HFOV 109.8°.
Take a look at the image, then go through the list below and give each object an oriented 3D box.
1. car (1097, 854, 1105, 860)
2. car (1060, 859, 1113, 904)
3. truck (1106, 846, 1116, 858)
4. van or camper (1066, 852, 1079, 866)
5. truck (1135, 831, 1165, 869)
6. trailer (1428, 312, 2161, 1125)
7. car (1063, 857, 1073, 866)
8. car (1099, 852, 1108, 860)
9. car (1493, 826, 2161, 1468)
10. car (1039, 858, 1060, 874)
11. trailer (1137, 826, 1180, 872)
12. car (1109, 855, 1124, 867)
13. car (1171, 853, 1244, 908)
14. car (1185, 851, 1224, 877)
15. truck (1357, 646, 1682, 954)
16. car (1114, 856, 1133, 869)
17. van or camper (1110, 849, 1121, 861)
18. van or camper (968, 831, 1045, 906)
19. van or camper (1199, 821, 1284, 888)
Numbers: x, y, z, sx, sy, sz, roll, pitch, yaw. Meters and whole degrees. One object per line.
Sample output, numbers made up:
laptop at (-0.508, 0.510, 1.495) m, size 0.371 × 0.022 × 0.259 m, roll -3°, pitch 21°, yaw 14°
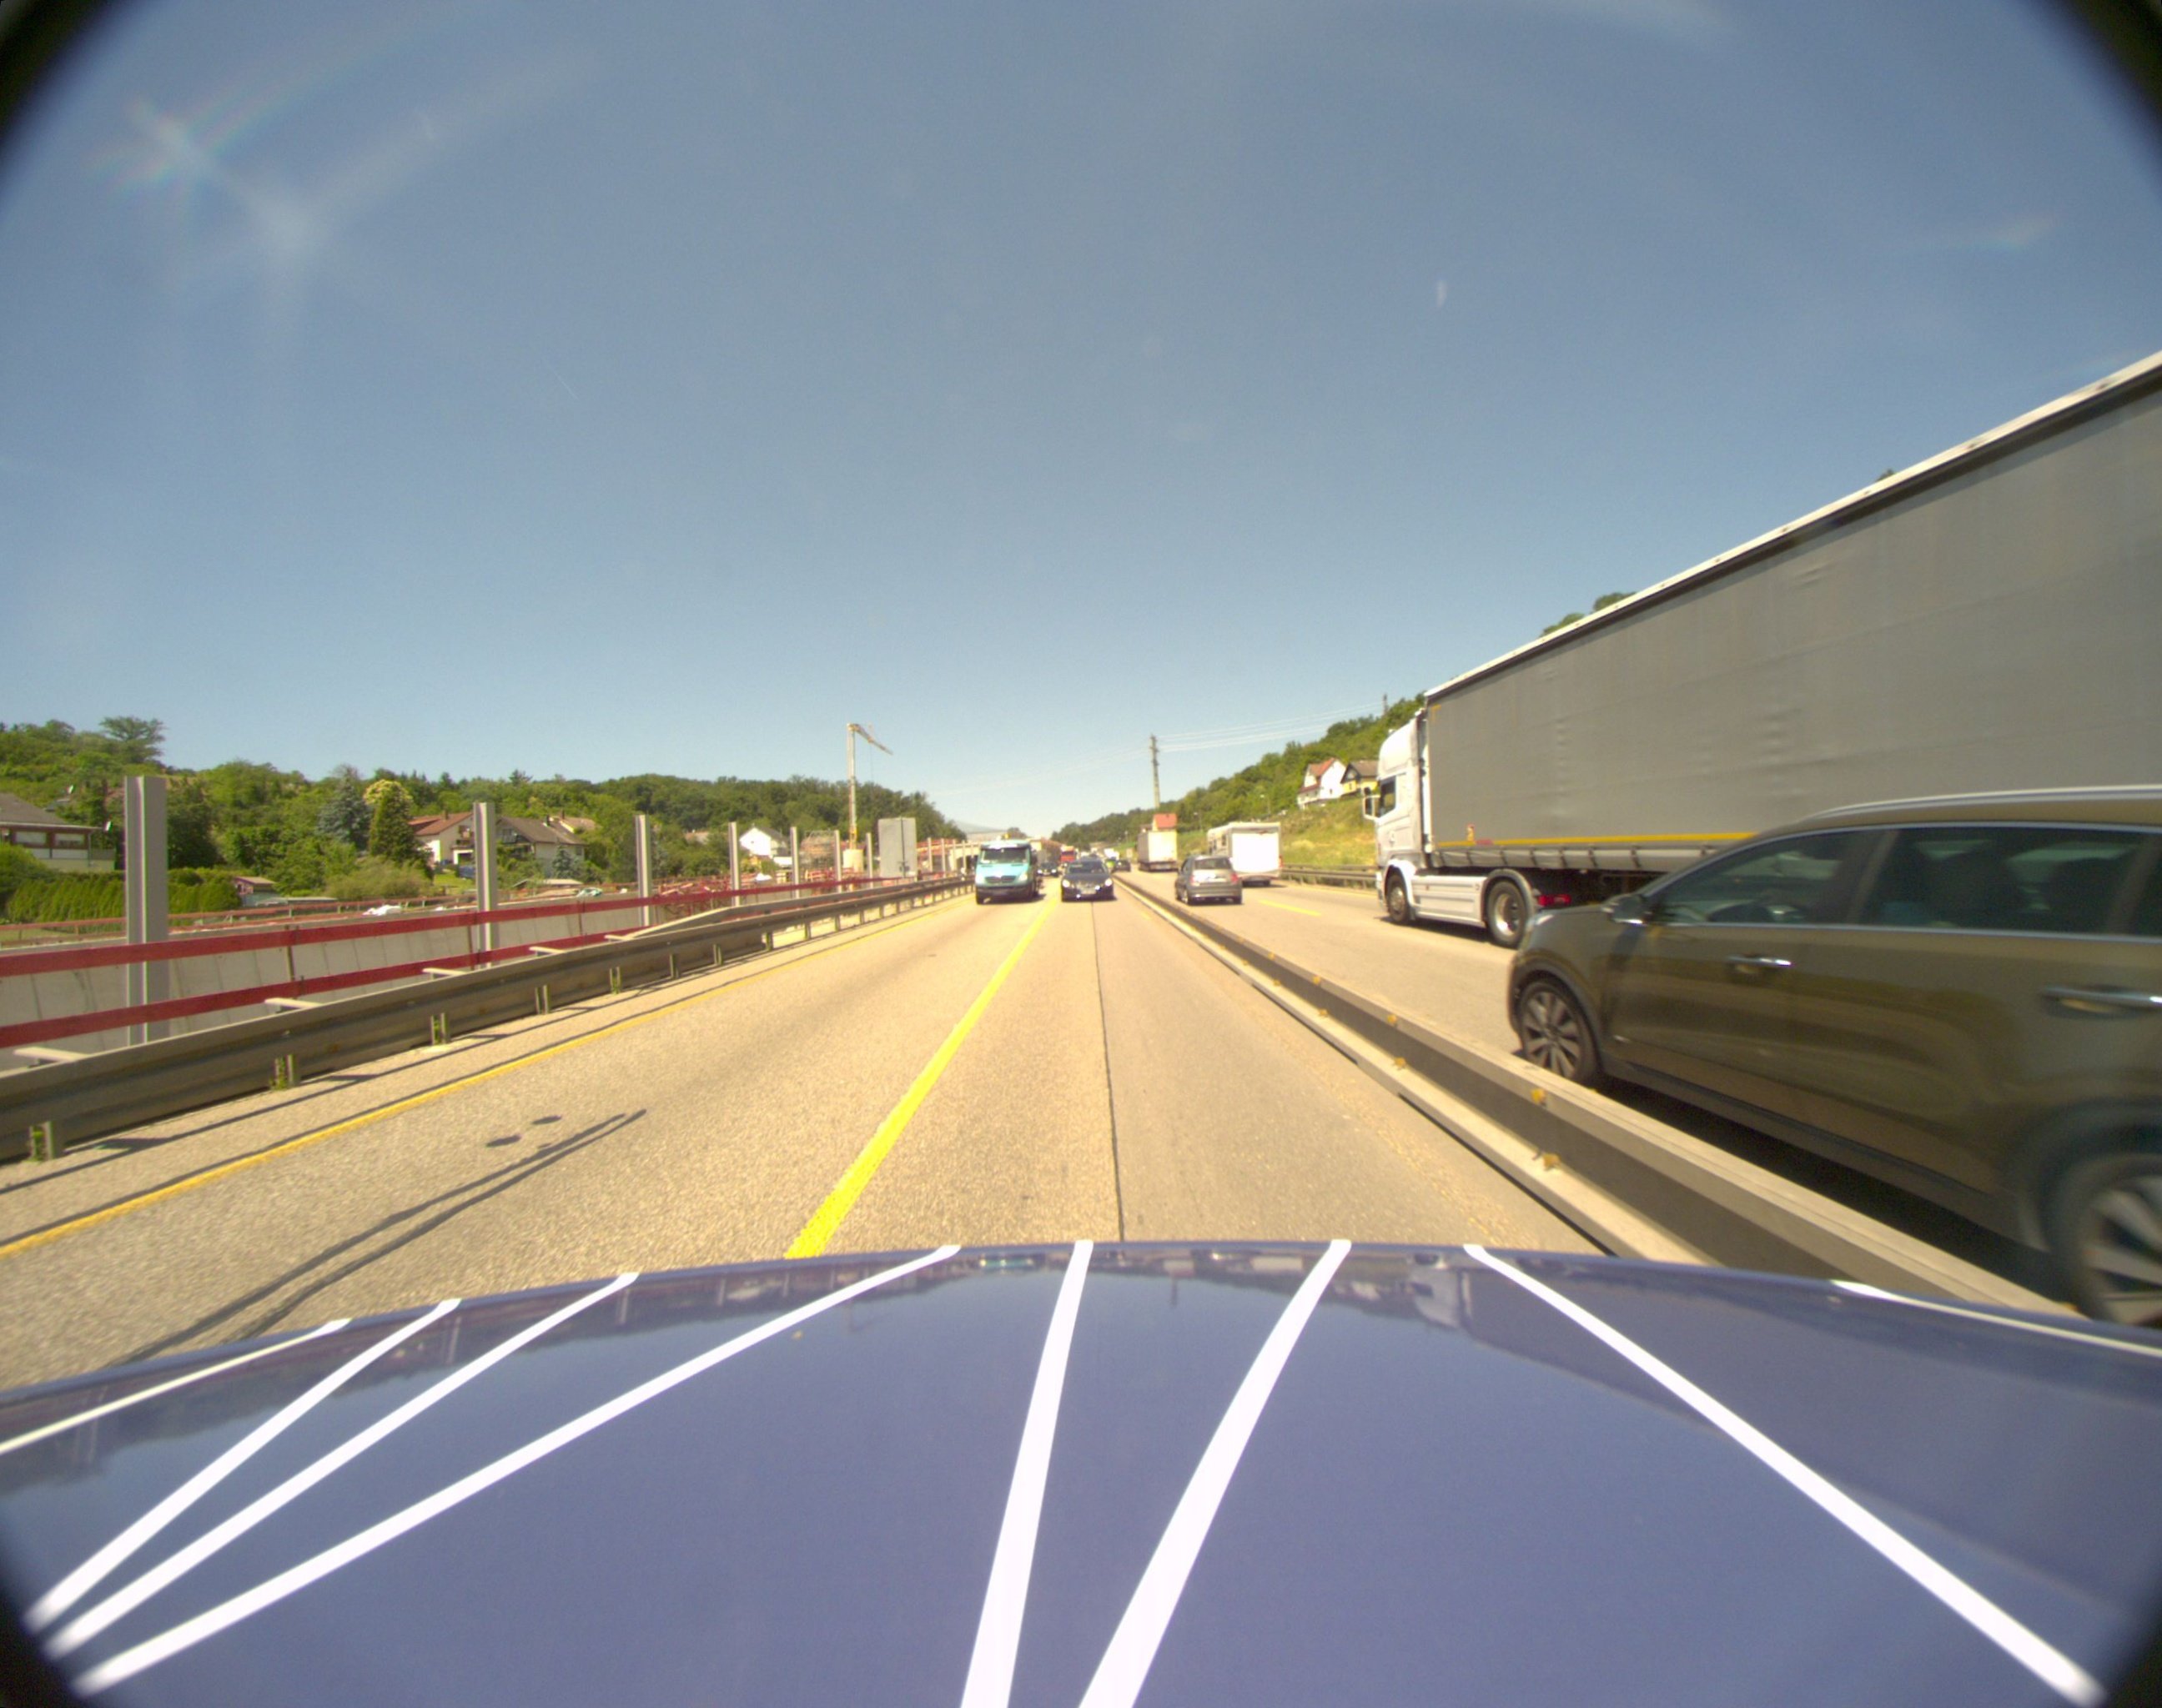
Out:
car at (4.982, 0.730, 190.279) m, size 1.660 × 1.420 × 3.176 m, roll -5°, pitch 0°, yaw 0°
car at (0.196, 0.934, 27.454) m, size 1.747 × 1.420 × 4.000 m, roll -2°, pitch 0°, yaw 0°
truck at (8.592, -0.565, 220.653) m, size 2.386 × 3.411 × 9.305 m, roll -1°, pitch 0°, yaw -1°
van or camper at (-1.654, 0.973, 150.955) m, size 2.321 × 2.513 × 4.527 m, roll -4°, pitch 0°, yaw 0°
truck at (7.734, -0.452, 85.244) m, size 2.828 × 4.100 × 4.598 m, roll -2°, pitch 0°, yaw 0°
trailer at (7.094, -0.743, 5.271) m, size 2.817 × 4.262 × 14.033 m, roll -2°, pitch 0°, yaw 0°
car at (-2.314, 1.305, 135.253) m, size 1.679 × 1.346 × 3.486 m, roll -4°, pitch 0°, yaw 0°
car at (4.355, 0.408, 149.632) m, size 1.677 × 1.468 × 4.539 m, roll 1°, pitch 1°, yaw 0°
car at (3.601, 0.710, 2.803) m, size 1.853 × 1.577 × 4.174 m, roll -2°, pitch 0°, yaw 0°
car at (-2.760, 1.043, 66.332) m, size 1.611 × 1.324 × 3.496 m, roll -1°, pitch 0°, yaw 1°
trailer at (7.741, -0.454, 77.488) m, size 2.864 × 4.100 × 13.436 m, roll -2°, pitch 0°, yaw 0°
car at (4.801, 0.953, 103.673) m, size 1.758 × 1.499 × 4.000 m, roll -4°, pitch 0°, yaw 0°
car at (3.779, 0.751, 23.195) m, size 1.633 × 1.470 × 3.379 m, roll -2°, pitch 0°, yaw 0°
car at (7.837, 0.616, 48.608) m, size 1.721 × 1.543 × 4.264 m, roll -2°, pitch 0°, yaw 0°
truck at (7.089, -0.769, 13.140) m, size 2.781 × 4.262 × 4.676 m, roll -2°, pitch 0°, yaw 0°
car at (4.562, 0.909, 82.224) m, size 1.772 × 1.355 × 4.411 m, roll -2°, pitch 0°, yaw 0°
van or camper at (8.371, 0.234, 184.716) m, size 2.382 × 2.634 × 6.051 m, roll -2°, pitch 0°, yaw 0°
van or camper at (-2.717, 0.496, 29.761) m, size 2.097 × 2.458 × 7.671 m, roll -2°, pitch 0°, yaw 0°
van or camper at (7.337, 0.026, 35.715) m, size 2.340 × 2.761 × 7.516 m, roll -2°, pitch 0°, yaw 0°
